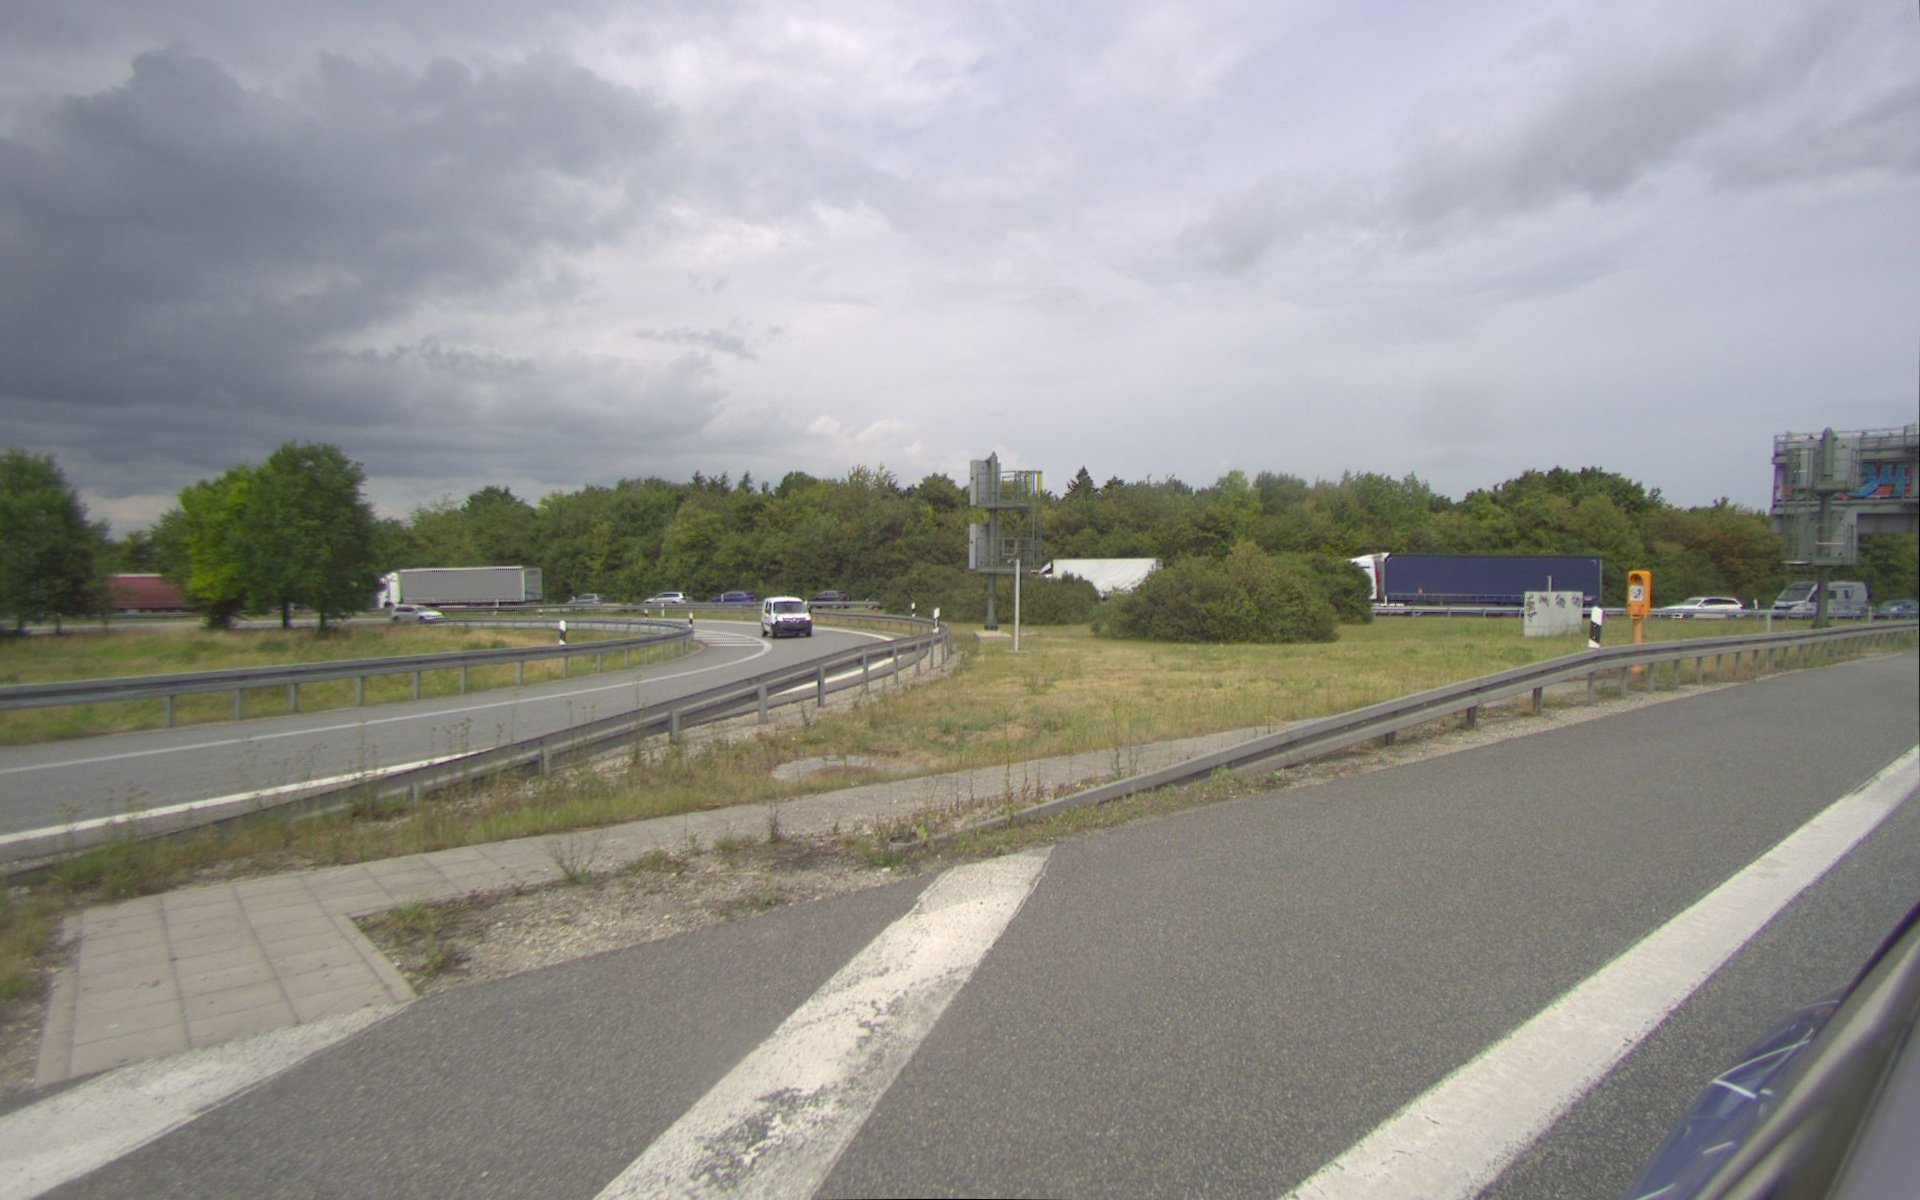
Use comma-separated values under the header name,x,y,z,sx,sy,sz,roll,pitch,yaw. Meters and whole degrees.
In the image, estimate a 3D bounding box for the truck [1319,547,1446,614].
name,x,y,z,sx,sy,sz,roll,pitch,yaw
truck,26.941,-1.211,64.800,6.664,4.147,3.368,0,0,3

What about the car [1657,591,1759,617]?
name,x,y,z,sx,sy,sz,roll,pitch,yaw
car,46.092,0.234,62.430,4.692,1.520,2.215,0,1,-4

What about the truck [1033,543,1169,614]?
name,x,y,z,sx,sy,sz,roll,pitch,yaw
truck,9.825,-1.420,70.583,8.882,4.674,3.260,-1,0,21

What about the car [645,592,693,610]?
name,x,y,z,sx,sy,sz,roll,pitch,yaw
car,-25.155,0.071,87.401,3.957,1.552,1.558,0,0,25

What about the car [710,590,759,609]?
name,x,y,z,sx,sy,sz,roll,pitch,yaw
car,-18.721,-0.052,83.990,3.964,1.487,1.484,0,0,29

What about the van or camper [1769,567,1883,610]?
name,x,y,z,sx,sy,sz,roll,pitch,yaw
van or camper,54.447,-0.731,63.662,6.031,2.600,2.306,0,1,-13

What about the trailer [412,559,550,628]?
name,x,y,z,sx,sy,sz,roll,pitch,yaw
trailer,-44.485,-0.573,94.013,11.920,6.165,4.000,-1,0,15

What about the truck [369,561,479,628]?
name,x,y,z,sx,sy,sz,roll,pitch,yaw
truck,-50.681,-0.484,95.728,8.846,6.150,4.050,-1,0,15

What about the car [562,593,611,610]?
name,x,y,z,sx,sy,sz,roll,pitch,yaw
car,-33.550,0.126,90.909,3.949,1.505,1.822,0,0,20

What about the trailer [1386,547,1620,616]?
name,x,y,z,sx,sy,sz,roll,pitch,yaw
trailer,34.285,-1.158,64.338,12.797,4.246,3.338,0,0,4

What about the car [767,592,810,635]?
name,x,y,z,sx,sy,sz,roll,pitch,yaw
car,-7.674,0.597,45.270,1.763,1.772,4.006,-2,0,-10

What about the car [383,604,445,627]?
name,x,y,z,sx,sy,sz,roll,pitch,yaw
car,-43.543,1.256,80.715,4.464,1.772,1.789,-1,0,18

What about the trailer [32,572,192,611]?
name,x,y,z,sx,sy,sz,roll,pitch,yaw
trailer,-79.202,-0.847,94.797,11.446,3.492,3.139,-1,0,-10
